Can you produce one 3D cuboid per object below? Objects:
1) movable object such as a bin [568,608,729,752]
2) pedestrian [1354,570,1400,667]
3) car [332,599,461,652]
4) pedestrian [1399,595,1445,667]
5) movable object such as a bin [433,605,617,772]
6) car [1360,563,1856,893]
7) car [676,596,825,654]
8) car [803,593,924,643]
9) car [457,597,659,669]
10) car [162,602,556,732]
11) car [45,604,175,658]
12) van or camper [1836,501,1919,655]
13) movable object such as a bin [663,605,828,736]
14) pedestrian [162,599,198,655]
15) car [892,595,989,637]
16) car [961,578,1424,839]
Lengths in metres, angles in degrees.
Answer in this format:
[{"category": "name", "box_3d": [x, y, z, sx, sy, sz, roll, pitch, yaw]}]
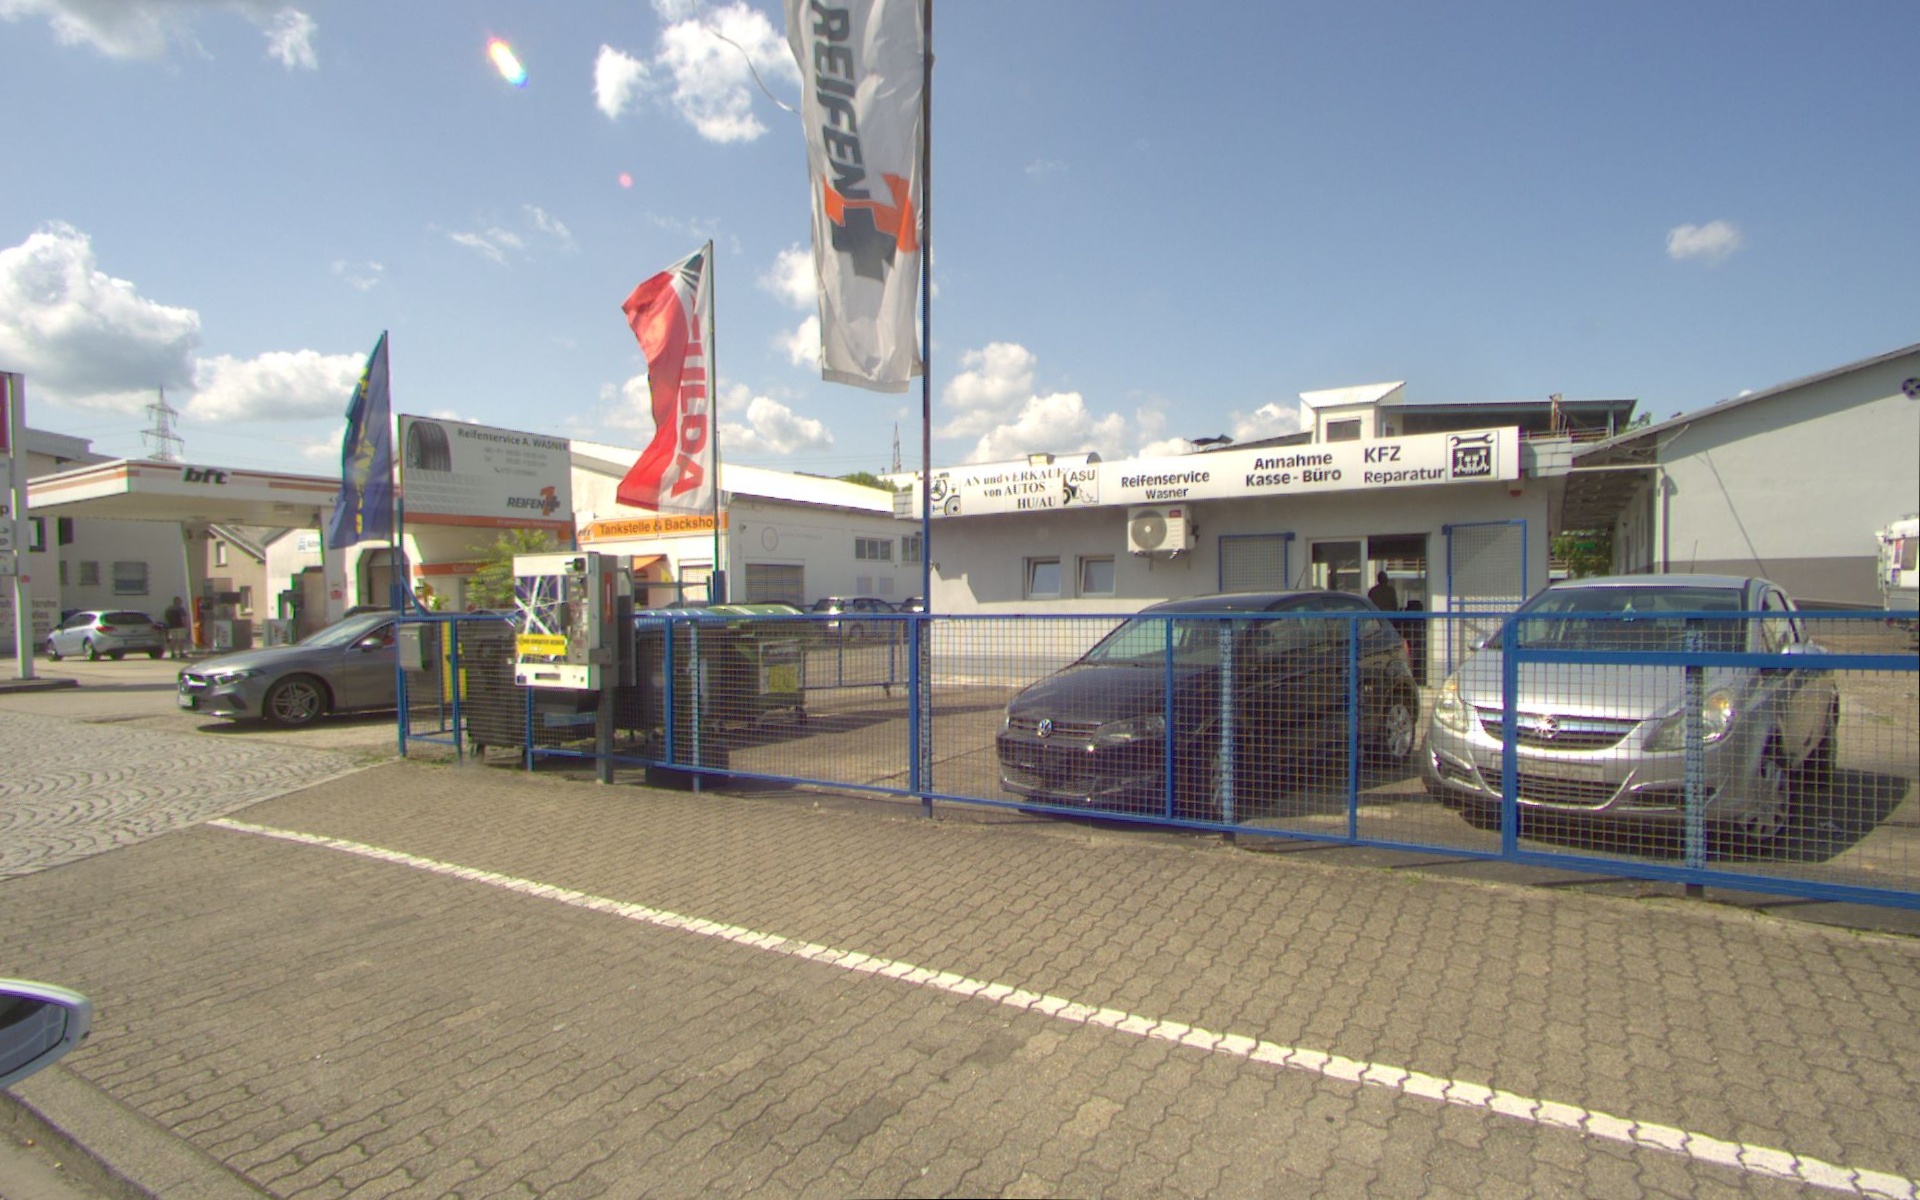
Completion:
[{"category": "movable object such as a bin", "box_3d": [-3.324, 0.803, 10.738, 1.225, 1.415, 1.106, 0, 1, 31]}, {"category": "pedestrian", "box_3d": [7.354, 0.320, 17.646, 0.654, 1.671, 0.563, 0, 1, 34]}, {"category": "car", "box_3d": [-17.307, 0.747, 30.724, 3.777, 1.523, 1.803, 0, 0, 31]}, {"category": "pedestrian", "box_3d": [8.049, 0.533, 17.439, 0.654, 1.225, 0.563, 0, 1, 34]}, {"category": "movable object such as a bin", "box_3d": [-4.157, 0.787, 9.608, 1.225, 1.455, 1.106, 0, 1, 31]}, {"category": "car", "box_3d": [4.275, 0.562, 6.381, 3.729, 1.472, 1.757, -1, 0, -42]}, {"category": "car", "box_3d": [-5.716, 0.641, 27.820, 1.564, 1.482, 4.187, 0, 0, 33]}, {"category": "car", "box_3d": [-3.013, 0.526, 32.051, 1.564, 1.482, 4.187, 0, 0, 33]}, {"category": "car", "box_3d": [-9.163, 0.688, 23.164, 1.564, 1.482, 4.187, 0, 0, 33]}, {"category": "car", "box_3d": [-7.870, 0.763, 13.517, 1.652, 1.434, 4.259, 0, 0, 36]}, {"category": "car", "box_3d": [-25.735, 0.900, 30.307, 3.776, 1.523, 1.803, 0, 0, 30]}, {"category": "van or camper", "box_3d": [21.017, -0.453, 19.530, 5.571, 3.005, 2.264, 0, 1, 31]}, {"category": "movable object such as a bin", "box_3d": [-2.531, 0.783, 11.903, 1.318, 1.415, 1.400, 0, 1, 31]}, {"category": "pedestrian", "box_3d": [-23.774, 0.800, 30.516, 0.698, 1.679, 0.546, -1, 1, -22]}, {"category": "car", "box_3d": [-0.637, 0.533, 35.737, 1.564, 1.385, 3.860, 0, 0, 33]}, {"category": "car", "box_3d": [1.893, 0.603, 7.492, 3.655, 1.472, 1.625, -1, 0, -43]}]
